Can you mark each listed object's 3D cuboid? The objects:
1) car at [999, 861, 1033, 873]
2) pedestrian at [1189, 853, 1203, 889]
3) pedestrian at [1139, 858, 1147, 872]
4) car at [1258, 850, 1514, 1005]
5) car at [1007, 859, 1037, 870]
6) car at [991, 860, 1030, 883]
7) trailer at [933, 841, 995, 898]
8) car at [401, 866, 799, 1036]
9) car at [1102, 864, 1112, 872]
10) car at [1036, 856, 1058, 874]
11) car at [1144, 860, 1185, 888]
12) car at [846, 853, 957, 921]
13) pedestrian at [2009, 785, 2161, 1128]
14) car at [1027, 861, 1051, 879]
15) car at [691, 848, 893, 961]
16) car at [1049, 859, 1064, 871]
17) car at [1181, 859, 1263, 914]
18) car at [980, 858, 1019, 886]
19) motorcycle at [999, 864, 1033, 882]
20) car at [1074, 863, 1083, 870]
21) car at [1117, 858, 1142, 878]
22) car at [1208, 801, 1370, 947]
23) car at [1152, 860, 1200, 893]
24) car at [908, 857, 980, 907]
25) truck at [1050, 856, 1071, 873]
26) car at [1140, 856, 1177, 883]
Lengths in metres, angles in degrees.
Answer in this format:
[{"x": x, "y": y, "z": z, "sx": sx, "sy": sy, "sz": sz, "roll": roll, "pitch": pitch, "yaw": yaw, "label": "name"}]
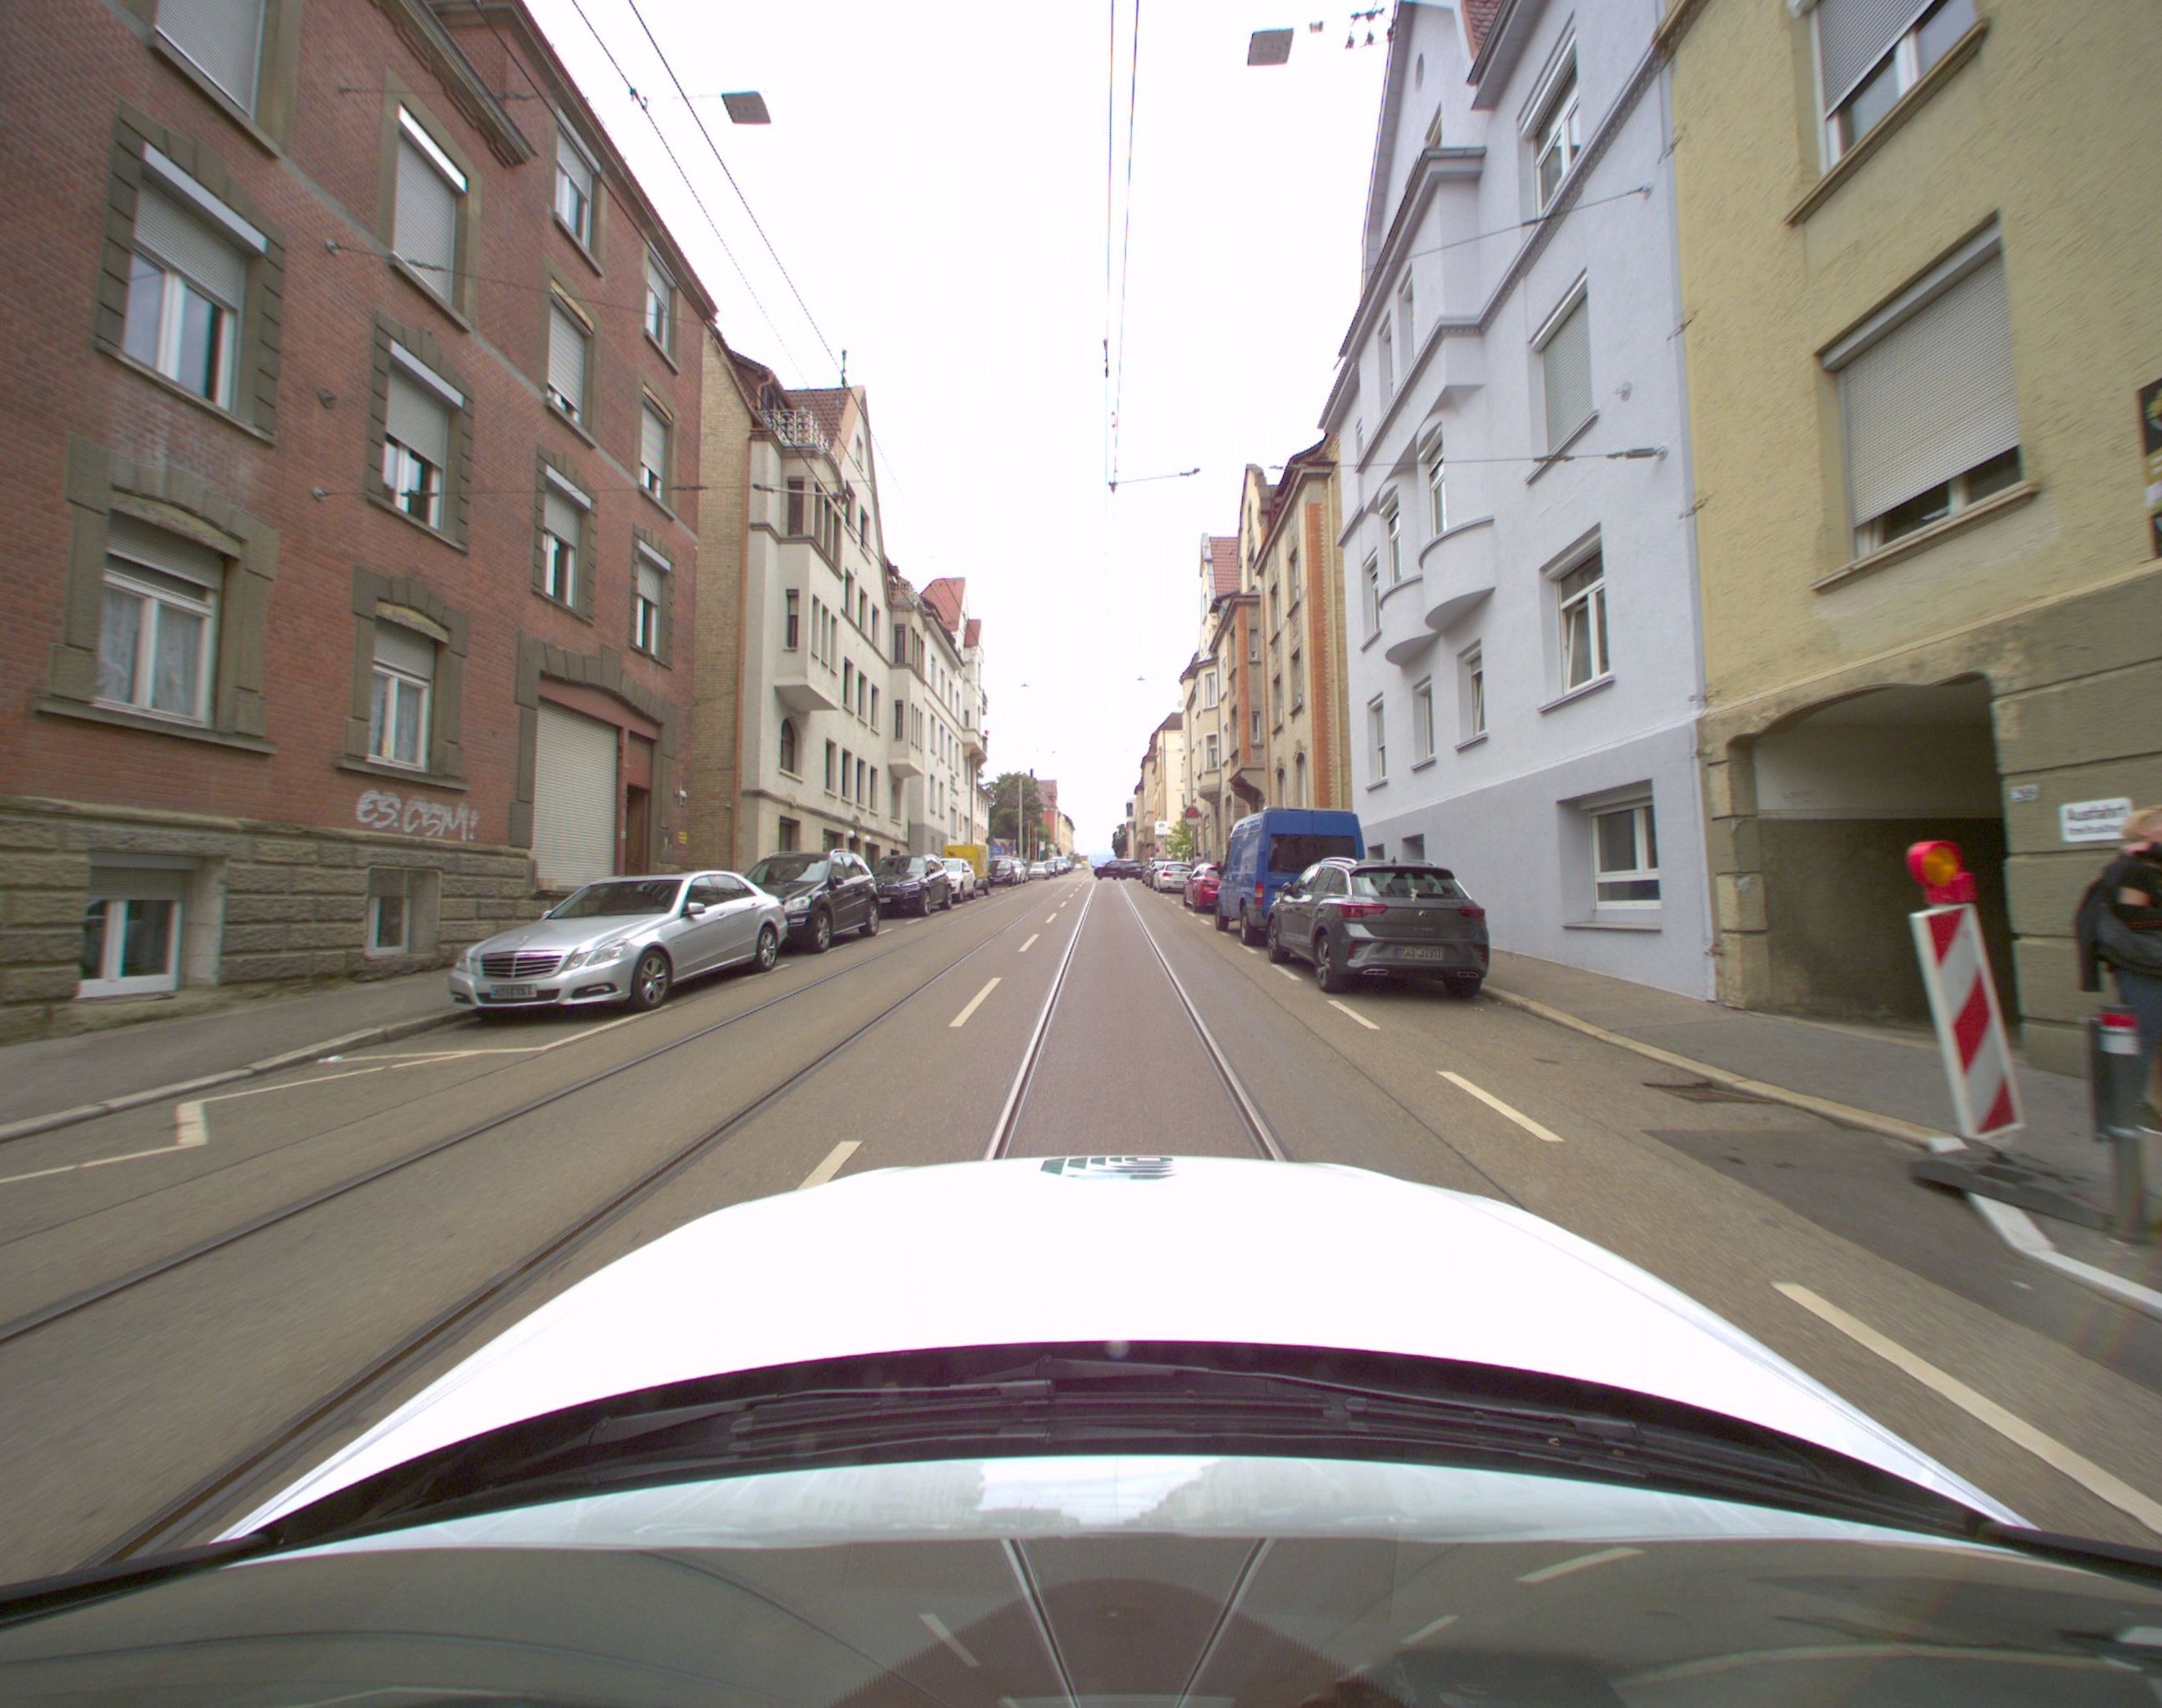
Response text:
[{"x": -8.041, "y": 1.600, "z": 101.332, "sx": 4.046, "sy": 1.445, "sz": 1.688, "roll": 0, "pitch": -1, "yaw": 1, "label": "car"}, {"x": 5.749, "y": 0.862, "z": 40.695, "sx": 0.597, "sy": 1.803, "sz": 0.632, "roll": 0, "pitch": -1, "yaw": 1, "label": "pedestrian"}, {"x": 7.476, "y": 1.339, "z": 98.727, "sx": 0.867, "sy": 1.686, "sz": 0.663, "roll": -2, "pitch": -1, "yaw": 0, "label": "pedestrian"}, {"x": 3.641, "y": 0.785, "z": 10.605, "sx": 1.773, "sy": 1.530, "sz": 4.192, "roll": 3, "pitch": 0, "yaw": 1, "label": "car"}, {"x": -7.912, "y": 1.430, "z": 110.102, "sx": 3.862, "sy": 1.357, "sz": 1.688, "roll": 0, "pitch": -1, "yaw": 1, "label": "car"}, {"x": -4.339, "y": 1.064, "z": 50.606, "sx": 1.772, "sy": 1.357, "sz": 4.294, "roll": -1, "pitch": -1, "yaw": 3, "label": "car"}, {"x": -4.796, "y": 0.595, "z": 33.942, "sx": 1.742, "sy": 2.155, "sz": 4.073, "roll": -3, "pitch": 0, "yaw": 2, "label": "trailer"}, {"x": -5.335, "y": 0.942, "z": 10.031, "sx": 1.820, "sy": 1.429, "sz": 4.841, "roll": -3, "pitch": 0, "yaw": 2, "label": "car"}, {"x": 4.696, "y": 2.514, "z": 146.558, "sx": 1.666, "sy": 1.513, "sz": 3.797, "roll": -1, "pitch": 0, "yaw": 0, "label": "car"}, {"x": -3.488, "y": 1.155, "z": 84.361, "sx": 1.736, "sy": 1.736, "sz": 4.523, "roll": -3, "pitch": -1, "yaw": 3, "label": "car"}, {"x": 4.480, "y": 1.033, "z": 44.189, "sx": 1.774, "sy": 1.390, "sz": 4.691, "roll": 1, "pitch": -1, "yaw": 0, "label": "car"}, {"x": -4.984, "y": 0.842, "z": 23.400, "sx": 1.866, "sy": 1.664, "sz": 4.894, "roll": -3, "pitch": 0, "yaw": 2, "label": "car"}, {"x": 5.507, "y": 0.502, "z": 4.243, "sx": 0.540, "sy": 1.682, "sz": 0.515, "roll": -5, "pitch": -3, "yaw": -7, "label": "pedestrian"}, {"x": -3.772, "y": 1.436, "z": 73.358, "sx": 1.690, "sy": 1.556, "sz": 3.853, "roll": 0, "pitch": -1, "yaw": 3, "label": "car"}, {"x": -5.160, "y": 0.802, "z": 15.403, "sx": 1.820, "sy": 1.718, "sz": 4.916, "roll": -3, "pitch": 0, "yaw": 2, "label": "car"}, {"x": -3.022, "y": 1.355, "z": 102.709, "sx": 1.691, "sy": 1.433, "sz": 4.481, "roll": -2, "pitch": -1, "yaw": 0, "label": "car"}, {"x": 4.126, "y": 0.909, "z": 24.563, "sx": 1.773, "sy": 1.475, "sz": 4.591, "roll": 1, "pitch": -1, "yaw": 1, "label": "car"}, {"x": -4.482, "y": 0.984, "z": 45.386, "sx": 1.690, "sy": 1.468, "sz": 3.024, "roll": -3, "pitch": -1, "yaw": 2, "label": "car"}, {"x": -4.286, "y": 1.251, "z": 53.792, "sx": 2.093, "sy": 1.134, "sz": 0.769, "roll": -2, "pitch": 0, "yaw": 15, "label": "motorcycle"}, {"x": -0.446, "y": 2.674, "z": 177.723, "sx": 1.848, "sy": 1.607, "sz": 4.298, "roll": 0, "pitch": -1, "yaw": 1, "label": "car"}, {"x": 3.933, "y": 1.118, "z": 66.409, "sx": 1.986, "sy": 1.563, "sz": 4.292, "roll": 0, "pitch": -1, "yaw": 2, "label": "car"}, {"x": 3.796, "y": 0.366, "z": 15.856, "sx": 1.986, "sy": 2.376, "sz": 5.057, "roll": 0, "pitch": -1, "yaw": 1, "label": "car"}, {"x": 4.333, "y": 0.987, "z": 37.814, "sx": 1.744, "sy": 1.390, "sz": 4.307, "roll": 1, "pitch": -1, "yaw": 0, "label": "car"}, {"x": -4.918, "y": 0.946, "z": 29.762, "sx": 1.690, "sy": 1.594, "sz": 4.270, "roll": -3, "pitch": 0, "yaw": 2, "label": "car"}, {"x": -2.668, "y": 1.357, "z": 109.854, "sx": 2.271, "sy": 2.188, "sz": 8.030, "roll": 0, "pitch": -1, "yaw": 3, "label": "truck"}, {"x": 4.637, "y": 0.910, "z": 49.358, "sx": 1.730, "sy": 1.537, "sz": 4.572, "roll": 1, "pitch": -1, "yaw": -1, "label": "car"}]
